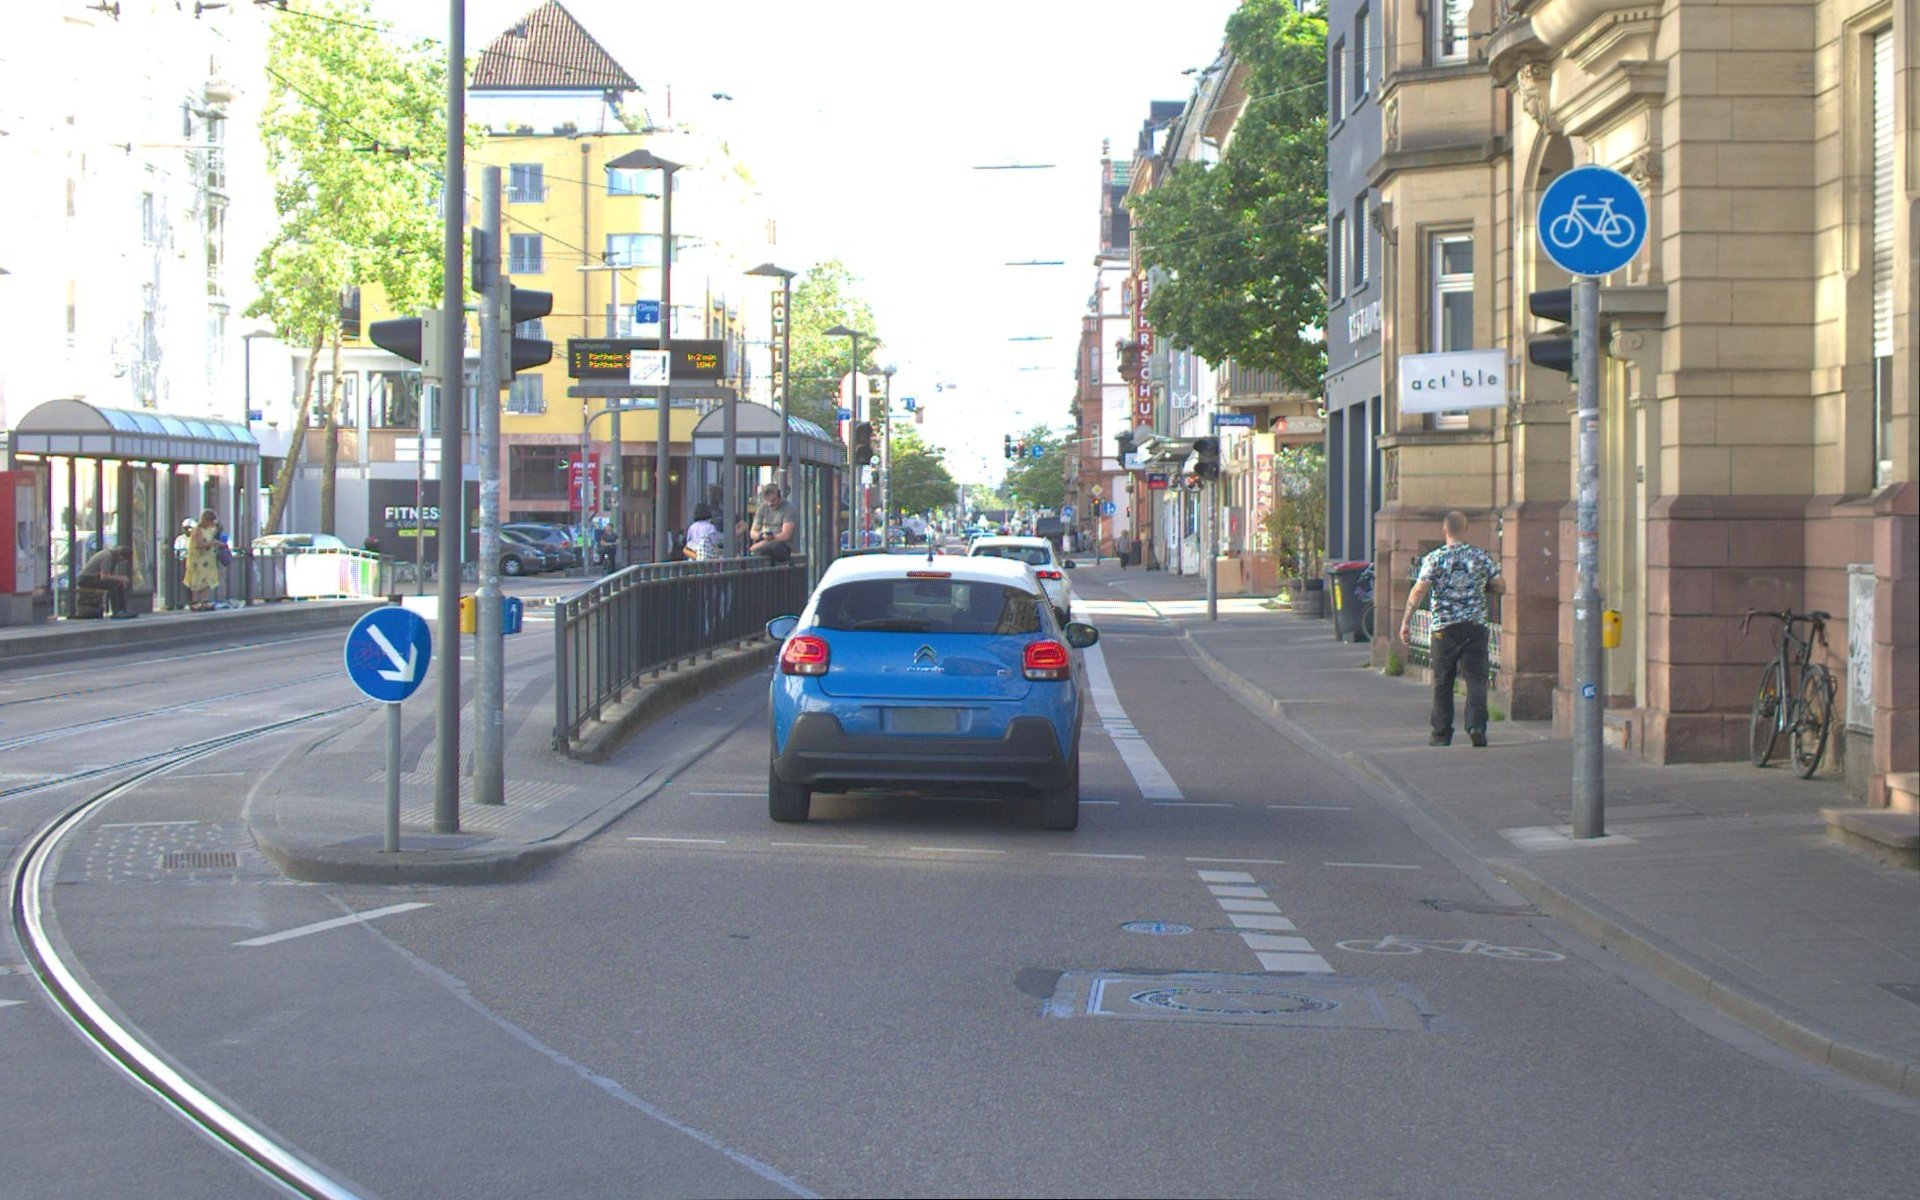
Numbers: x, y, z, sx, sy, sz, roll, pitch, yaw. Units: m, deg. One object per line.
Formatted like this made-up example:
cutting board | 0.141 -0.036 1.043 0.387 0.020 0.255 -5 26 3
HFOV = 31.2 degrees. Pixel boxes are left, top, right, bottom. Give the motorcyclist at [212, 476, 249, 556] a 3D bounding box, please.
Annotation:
motorcyclist | -14.128 -1.619 66.594 0.487 1.497 0.722 1 -1 2

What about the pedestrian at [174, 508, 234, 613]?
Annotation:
pedestrian | -11.273 -0.591 51.264 0.731 1.554 0.743 0 0 0

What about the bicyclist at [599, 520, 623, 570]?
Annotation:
bicyclist | -10.913 -1.712 107.517 0.672 1.552 0.778 0 0 2

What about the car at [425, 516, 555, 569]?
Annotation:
car | -15.167 -1.837 111.071 3.986 1.669 1.958 0 0 -2

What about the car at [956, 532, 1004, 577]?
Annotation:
car | 0.871 -1.952 149.061 1.993 1.737 3.999 1 -1 1

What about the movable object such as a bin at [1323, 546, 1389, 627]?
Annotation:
movable object such as a bin | 5.321 -0.177 46.235 0.748 1.033 0.753 -4 -1 2

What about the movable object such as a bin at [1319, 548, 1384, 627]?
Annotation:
movable object such as a bin | 5.349 -0.168 46.996 0.748 1.033 0.753 -4 -1 2

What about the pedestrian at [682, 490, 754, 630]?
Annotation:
pedestrian | -3.109 -0.507 44.218 0.718 1.771 0.564 -1 0 37

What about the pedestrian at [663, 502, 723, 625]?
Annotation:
pedestrian | -3.400 -0.464 43.757 0.586 1.556 0.468 -1 0 37

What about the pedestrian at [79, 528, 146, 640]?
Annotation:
pedestrian | -11.636 -0.227 47.195 0.731 1.522 0.743 0 0 0

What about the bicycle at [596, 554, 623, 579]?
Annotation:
bicycle | -10.937 -1.045 107.356 0.566 0.755 1.937 0 0 2

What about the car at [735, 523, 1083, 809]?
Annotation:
car | -0.221 0.347 19.744 1.781 1.446 3.654 1 0 1

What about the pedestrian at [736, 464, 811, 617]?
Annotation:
pedestrian | -2.132 -0.673 39.321 0.636 1.692 0.933 1 -1 9

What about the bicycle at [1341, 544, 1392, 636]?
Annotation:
bicycle | 5.134 -0.117 43.489 0.459 1.119 1.773 -2 0 2

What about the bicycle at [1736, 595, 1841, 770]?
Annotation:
bicycle | 5.208 0.519 21.671 0.255 1.049 1.769 1 -1 1

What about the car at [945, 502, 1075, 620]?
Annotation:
car | 0.827 -0.606 55.924 1.993 1.737 3.999 1 -1 1

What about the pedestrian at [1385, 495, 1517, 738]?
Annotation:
pedestrian | 3.595 0.109 25.249 0.780 1.744 1.093 0 1 -1
